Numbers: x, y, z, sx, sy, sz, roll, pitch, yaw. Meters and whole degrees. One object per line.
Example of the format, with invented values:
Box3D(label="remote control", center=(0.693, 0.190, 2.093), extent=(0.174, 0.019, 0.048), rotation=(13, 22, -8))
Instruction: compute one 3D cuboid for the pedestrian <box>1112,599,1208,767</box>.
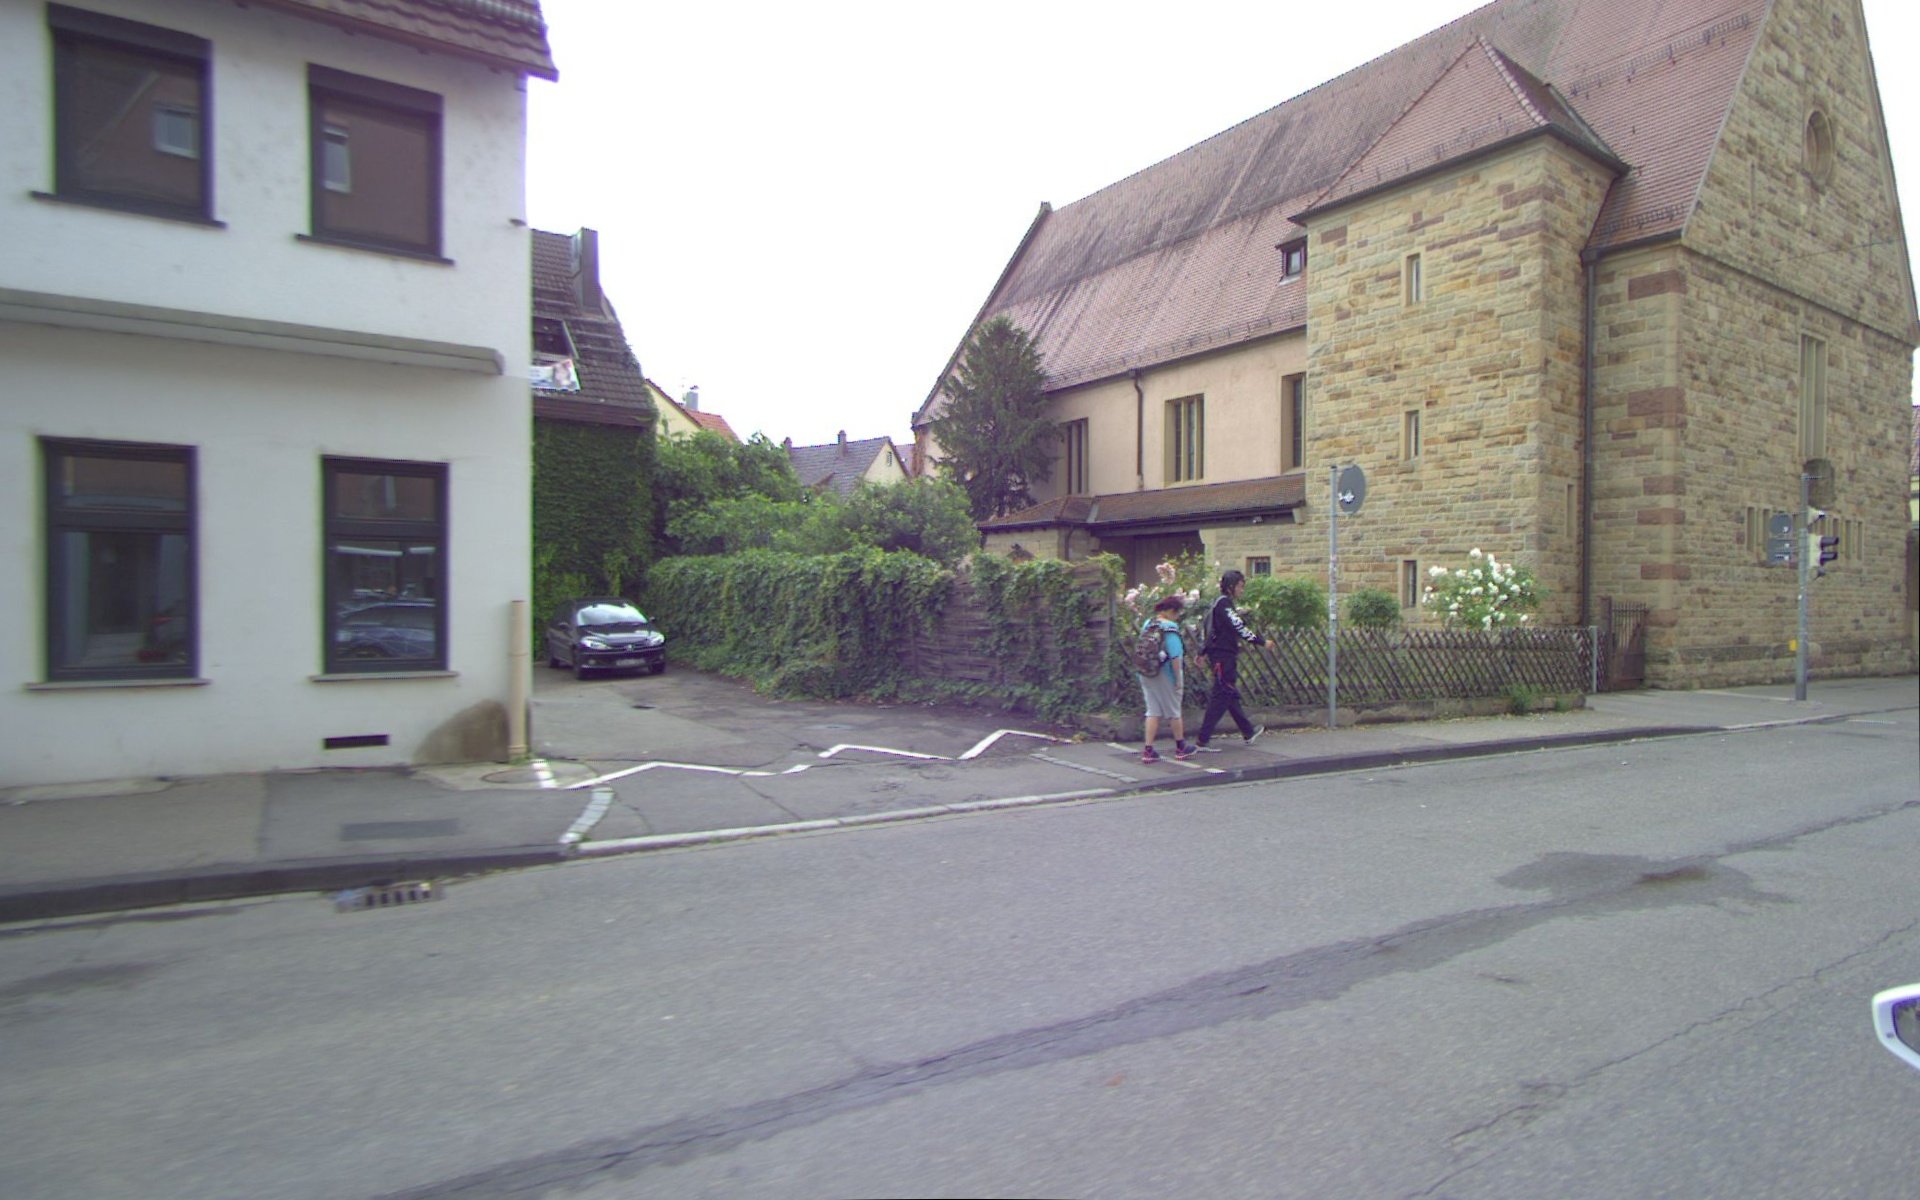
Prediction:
Box3D(label="pedestrian", center=(1.968, 0.788, 9.909), extent=(0.688, 1.575, 0.568), rotation=(1, 2, -30))

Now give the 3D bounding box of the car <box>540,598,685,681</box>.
Box3D(label="car", center=(-6.976, 0.697, 19.932), extent=(1.790, 1.372, 3.963), rotation=(-3, 2, -33))

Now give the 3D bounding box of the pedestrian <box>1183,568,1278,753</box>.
Box3D(label="pedestrian", center=(2.862, 0.619, 10.659), extent=(0.688, 1.873, 0.568), rotation=(1, 3, -30))
